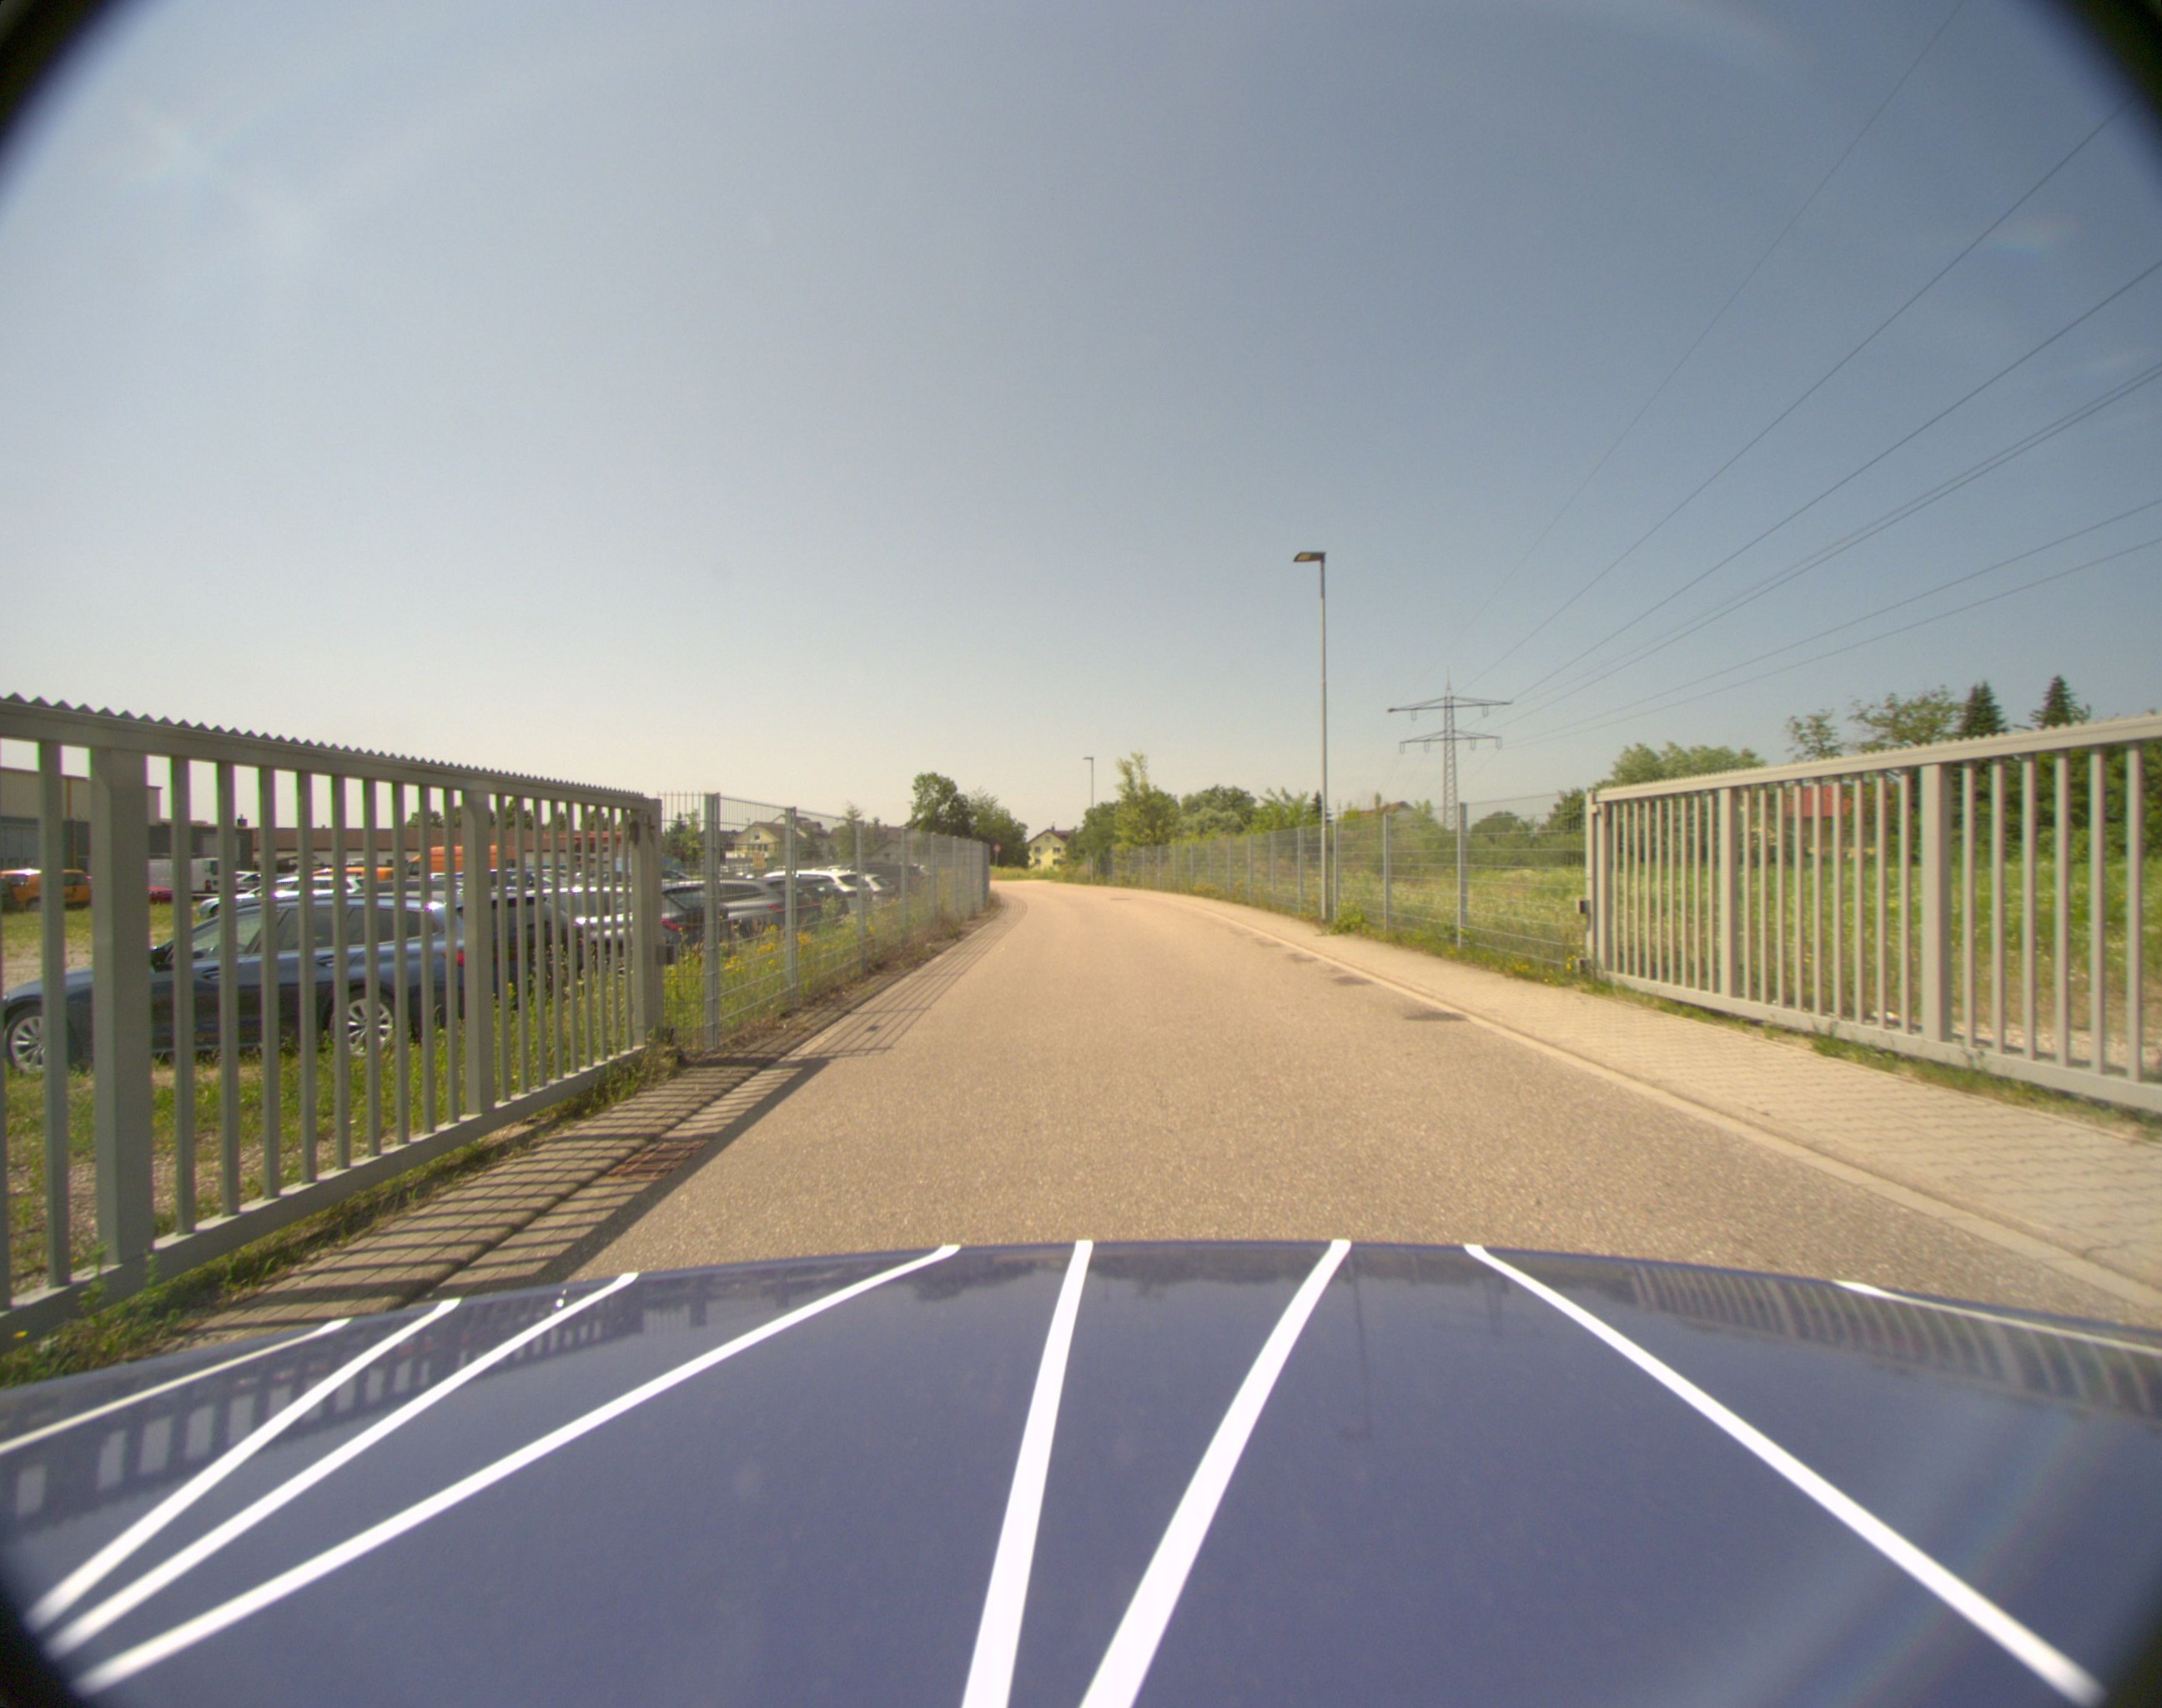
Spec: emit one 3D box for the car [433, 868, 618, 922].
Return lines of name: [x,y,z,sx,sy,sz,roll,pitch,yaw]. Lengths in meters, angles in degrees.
car: [-17.984,1.281,24.820,4.477,1.639,1.876,0,-1,-11]

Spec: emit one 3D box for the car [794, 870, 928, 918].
car: [-7.739,1.378,27.007,4.292,1.627,1.764,0,-1,-3]

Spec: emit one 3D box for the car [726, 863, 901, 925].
car: [-7.476,1.104,21.495,4.219,1.398,1.839,-3,1,4]

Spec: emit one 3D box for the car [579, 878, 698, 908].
car: [-21.711,1.887,37.521,4.763,1.343,1.819,0,-1,-16]

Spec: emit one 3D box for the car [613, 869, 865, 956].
car: [-6.835,1.148,15.473,4.219,1.398,1.839,-3,1,4]

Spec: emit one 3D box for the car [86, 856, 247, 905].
car: [-42.290,1.192,35.276,4.393,2.158,1.971,0,-1,-18]

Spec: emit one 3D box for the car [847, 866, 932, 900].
car: [-9.783,1.460,38.750,4.138,1.659,1.721,0,-1,-17]

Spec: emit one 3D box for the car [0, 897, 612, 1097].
car: [-7.222,1.243,7.123,4.520,1.398,1.767,-2,1,2]

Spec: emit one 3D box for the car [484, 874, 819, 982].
car: [-7.049,1.182,12.874,4.521,1.398,1.838,-3,0,-2]

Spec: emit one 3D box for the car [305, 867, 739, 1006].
car: [-7.208,1.028,10.088,4.520,1.398,1.638,-3,1,2]

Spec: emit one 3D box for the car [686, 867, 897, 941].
car: [-6.755,1.150,18.036,4.219,1.398,1.839,-3,1,4]

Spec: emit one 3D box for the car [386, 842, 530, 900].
car: [-28.716,0.774,35.184,4.749,2.569,1.978,0,-1,-16]

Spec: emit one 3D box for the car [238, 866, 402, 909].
car: [-26.846,1.149,26.937,3.832,1.453,1.587,0,-1,-16]

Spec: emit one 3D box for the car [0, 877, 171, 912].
car: [-42.099,1.675,32.110,4.392,1.369,1.840,0,-1,-16]

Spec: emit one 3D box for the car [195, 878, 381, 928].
car: [-25.204,1.518,24.304,3.832,1.453,1.587,0,-1,-16]

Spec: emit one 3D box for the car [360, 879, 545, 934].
car: [-18.023,1.472,21.980,3.775,1.428,1.610,0,-1,-16]

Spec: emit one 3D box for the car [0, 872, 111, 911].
car: [-41.507,1.447,29.475,4.393,1.476,1.971,0,-1,-18]

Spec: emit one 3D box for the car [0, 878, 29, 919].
car: [-40.810,1.643,26.746,4.003,1.455,1.997,-1,0,-17]
